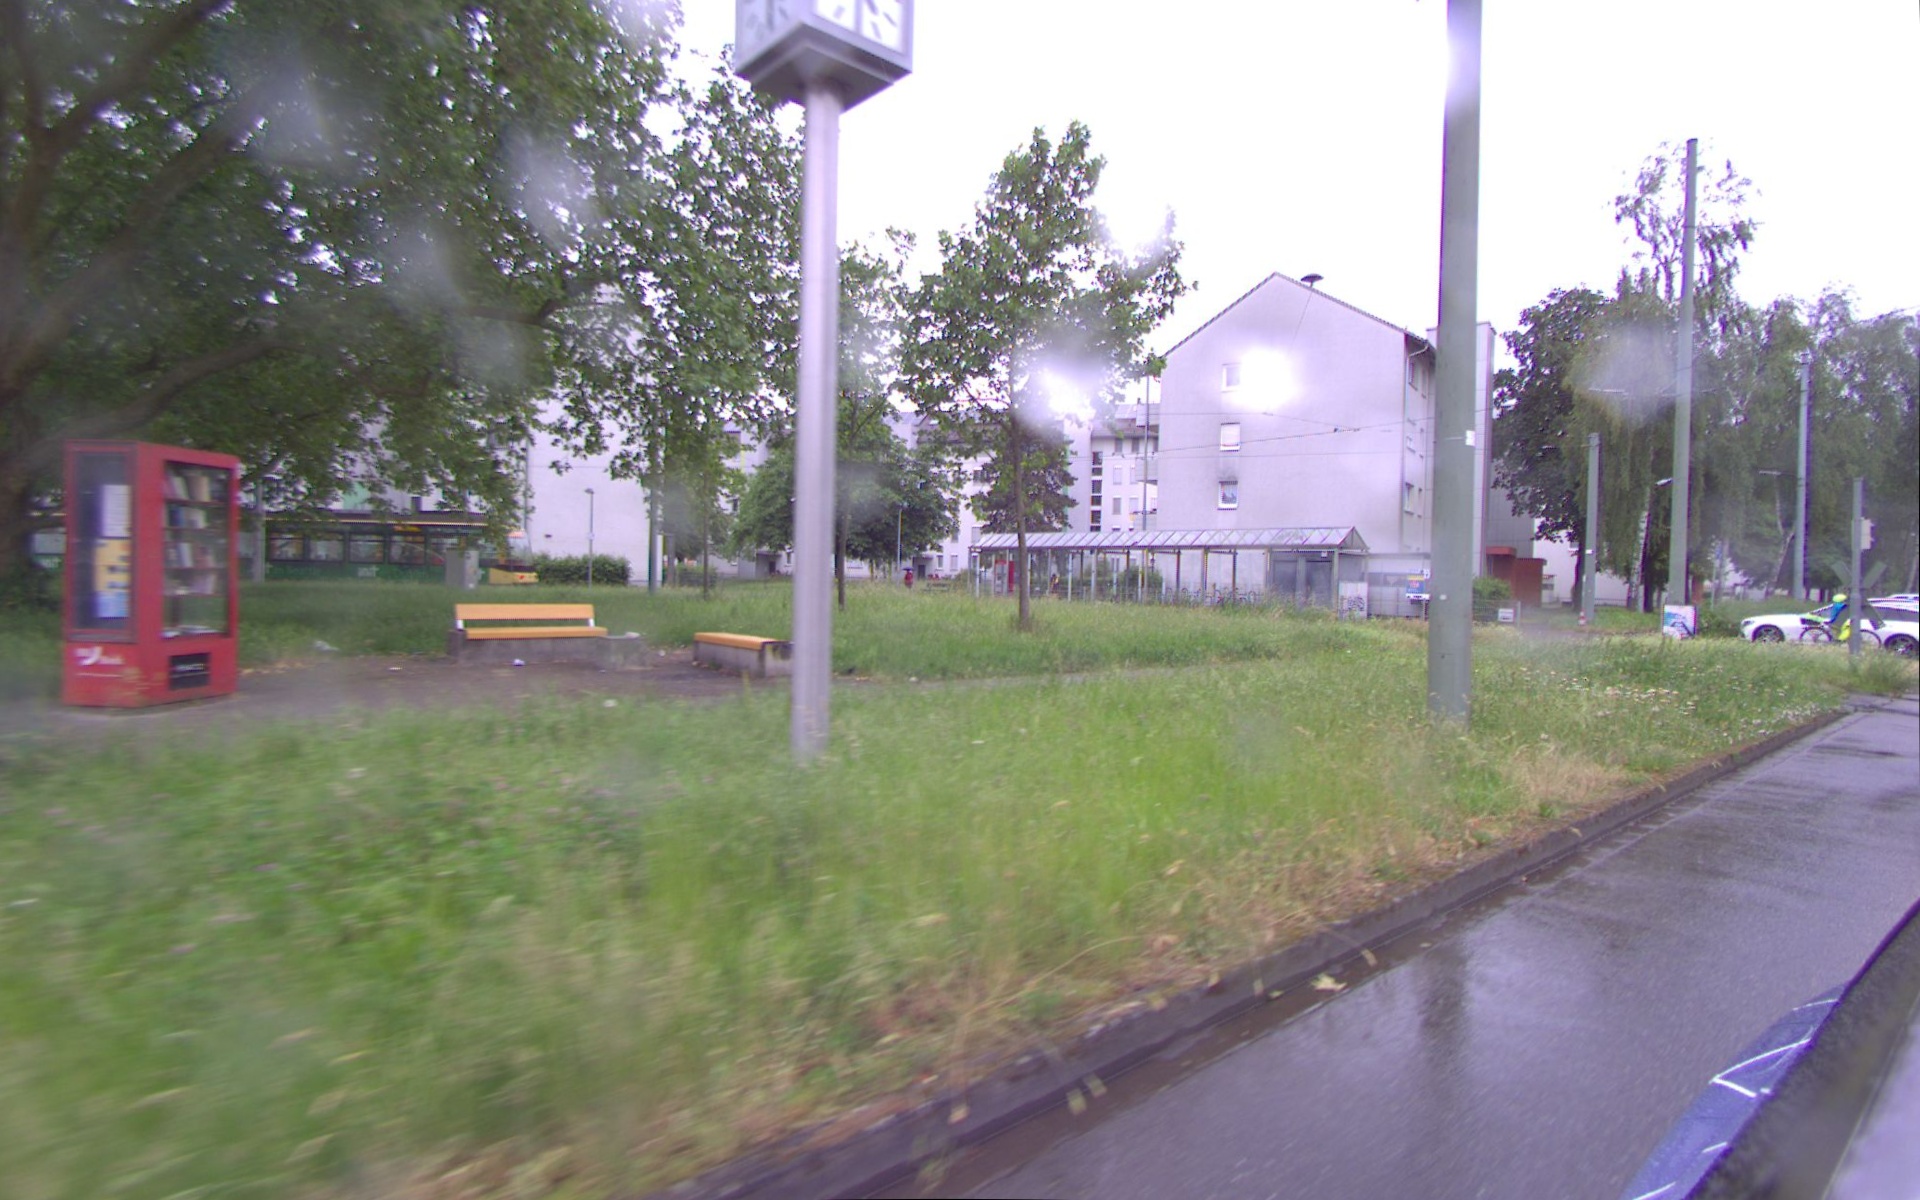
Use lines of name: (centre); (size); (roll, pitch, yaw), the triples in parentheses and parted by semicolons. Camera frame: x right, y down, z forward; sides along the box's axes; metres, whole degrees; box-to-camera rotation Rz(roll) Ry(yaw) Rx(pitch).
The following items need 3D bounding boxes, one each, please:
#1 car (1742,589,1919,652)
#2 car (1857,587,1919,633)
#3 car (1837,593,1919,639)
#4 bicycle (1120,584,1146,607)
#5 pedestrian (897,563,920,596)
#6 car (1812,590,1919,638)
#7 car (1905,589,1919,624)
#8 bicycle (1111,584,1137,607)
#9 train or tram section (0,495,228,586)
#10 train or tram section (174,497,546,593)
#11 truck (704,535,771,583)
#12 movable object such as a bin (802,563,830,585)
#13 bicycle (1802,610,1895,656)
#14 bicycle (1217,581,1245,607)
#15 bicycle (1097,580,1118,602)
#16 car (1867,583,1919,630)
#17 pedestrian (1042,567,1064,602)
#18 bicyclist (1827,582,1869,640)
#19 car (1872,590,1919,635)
car: (25.674, 0.581, 28.979); (1.965, 1.475, 4.838); (1, 3, -40)
car: (39.538, 0.399, 41.123); (1.692, 1.869, 4.439); (0, 0, -40)
car: (34.085, 0.564, 36.129); (1.692, 1.606, 3.995); (0, 0, -40)
bicycle: (7.275, -0.182, 42.558); (1.215, 0.959, 0.377); (0, 0, -39)
pedestrian: (-3.001, -1.188, 59.004); (1.165, 1.907, 1.056); (0, 0, -14)
car: (30.299, 0.428, 32.714); (1.692, 1.505, 3.995); (0, 0, -40)
car: (55.434, 0.371, 55.951); (1.866, 1.967, 4.540); (1, 0, -42)
bicycle: (6.981, -0.183, 42.960); (1.215, 0.959, 0.377); (0, 0, -39)
train or tram section: (-39.580, -2.593, 43.732); (14.472, 3.635, 2.712); (1, 0, 4)
train or tram section: (-25.141, -2.269, 42.675); (14.472, 3.635, 2.712); (1, 0, 4)
truck: (-17.806, -3.189, 80.693); (3.139, 3.518, 7.153); (0, 0, -31)
movable object such as a bin: (-14.190, -2.559, 99.848); (1.882, 2.039, 2.220); (0, 0, 23)
bicycle: (23.781, 0.870, 27.124); (1.739, 1.144, 0.720); (2, 0, 31)
bicycle: (10.335, -0.225, 38.556); (1.215, 0.968, 0.377); (0, 0, -39)
bicycle: (6.395, -0.375, 43.722); (0.414, 0.959, 1.292); (0, 0, 32)
car: (43.201, 0.290, 44.806); (1.694, 2.088, 4.434); (0, 0, -44)
pedestrian: (4.306, -0.722, 46.948); (0.776, 1.592, 0.635); (0, -1, -43)
bicyclist: (23.798, 0.290, 27.125); (0.693, 1.536, 0.717); (1, 0, 30)
car: (41.383, 0.511, 42.475); (1.692, 1.869, 4.439); (0, 0, -40)
